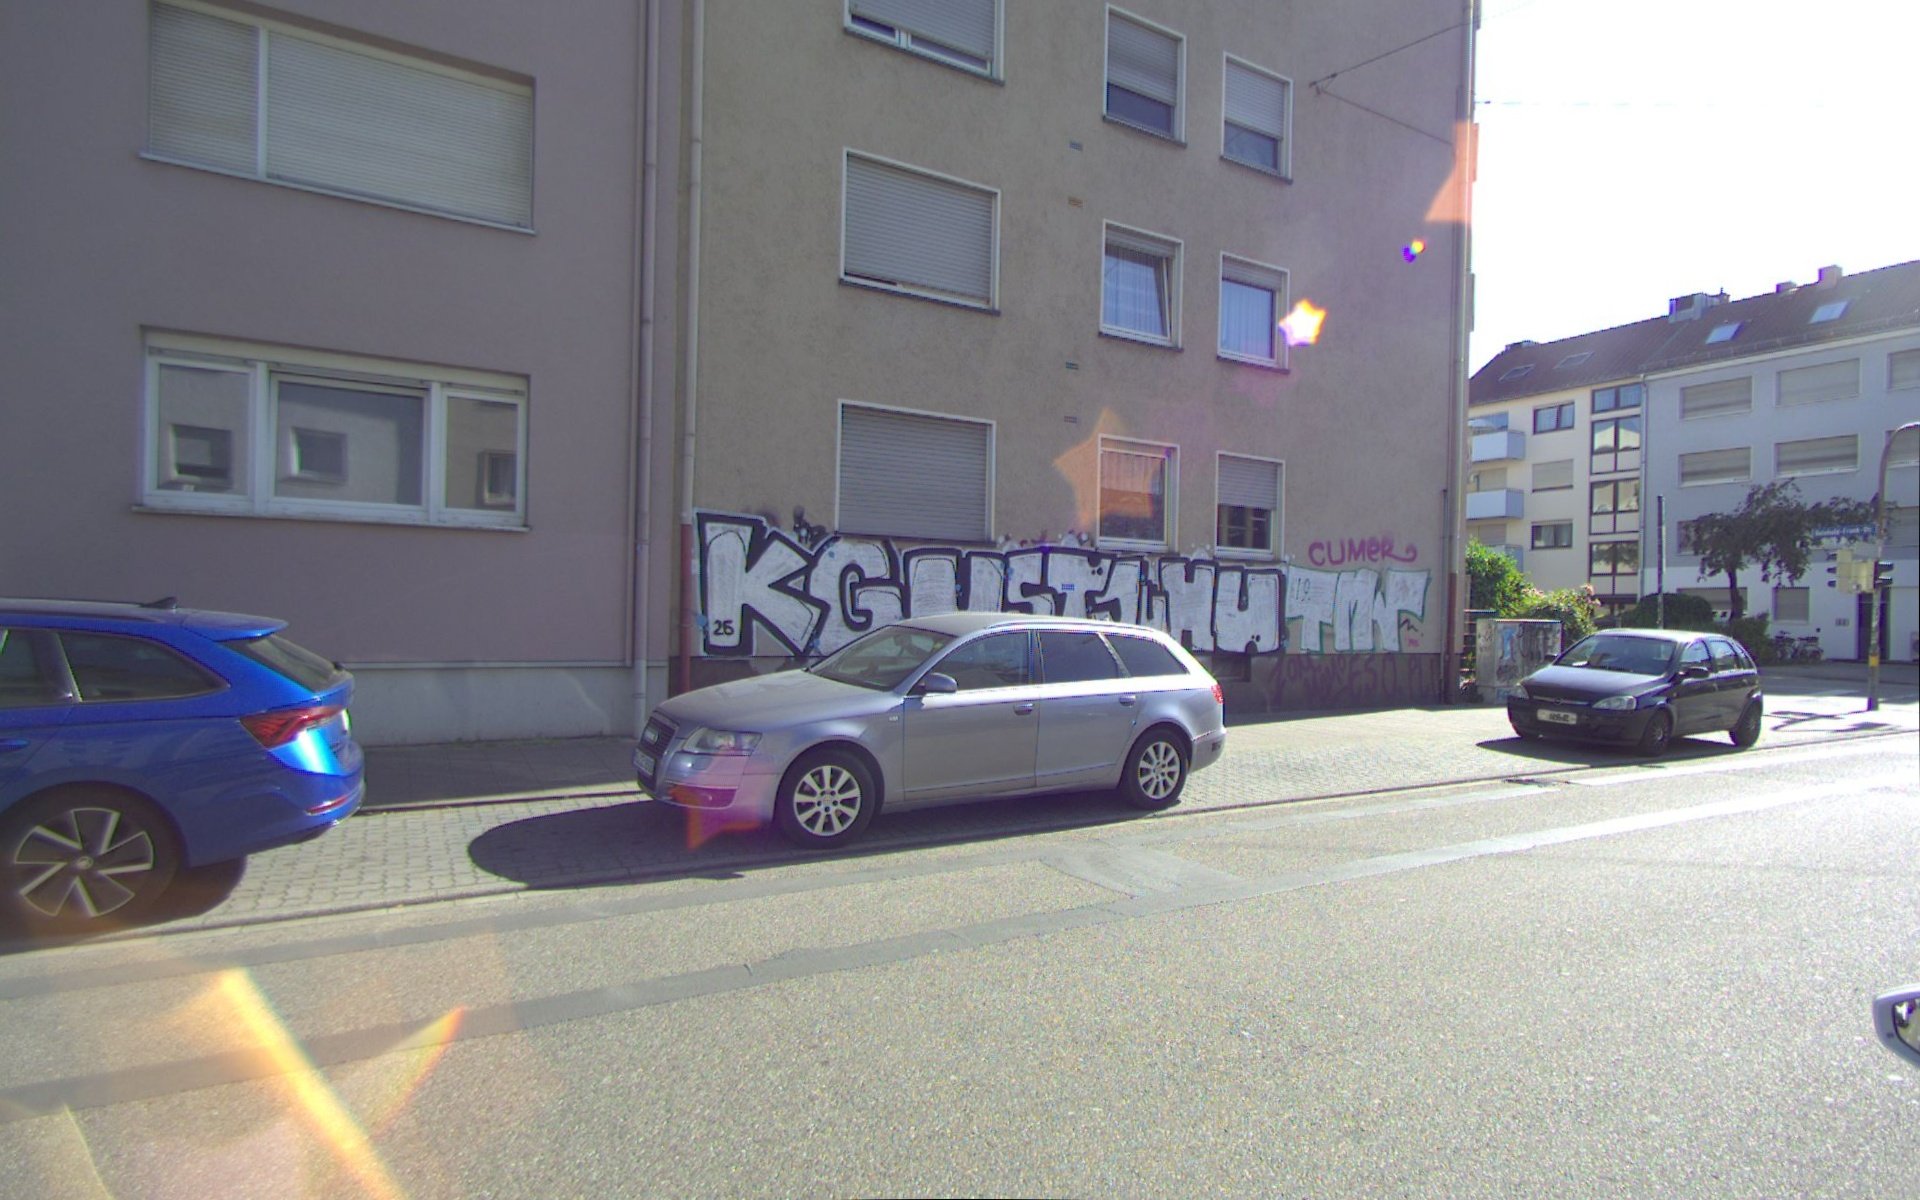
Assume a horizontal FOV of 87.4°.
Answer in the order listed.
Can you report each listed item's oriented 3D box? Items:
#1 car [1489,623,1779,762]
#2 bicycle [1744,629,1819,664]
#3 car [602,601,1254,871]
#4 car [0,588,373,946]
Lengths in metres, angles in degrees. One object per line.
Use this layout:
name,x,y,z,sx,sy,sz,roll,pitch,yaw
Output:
car,8.636,1.091,12.825,3.667,1.444,1.608,1,2,-31
bicycle,29.703,1.656,36.357,2.068,1.188,0.738,0,-1,37
car,-0.098,0.834,7.719,4.759,1.485,1.708,1,2,-31
car,-5.357,0.703,4.606,4.559,1.485,1.708,1,2,-31
